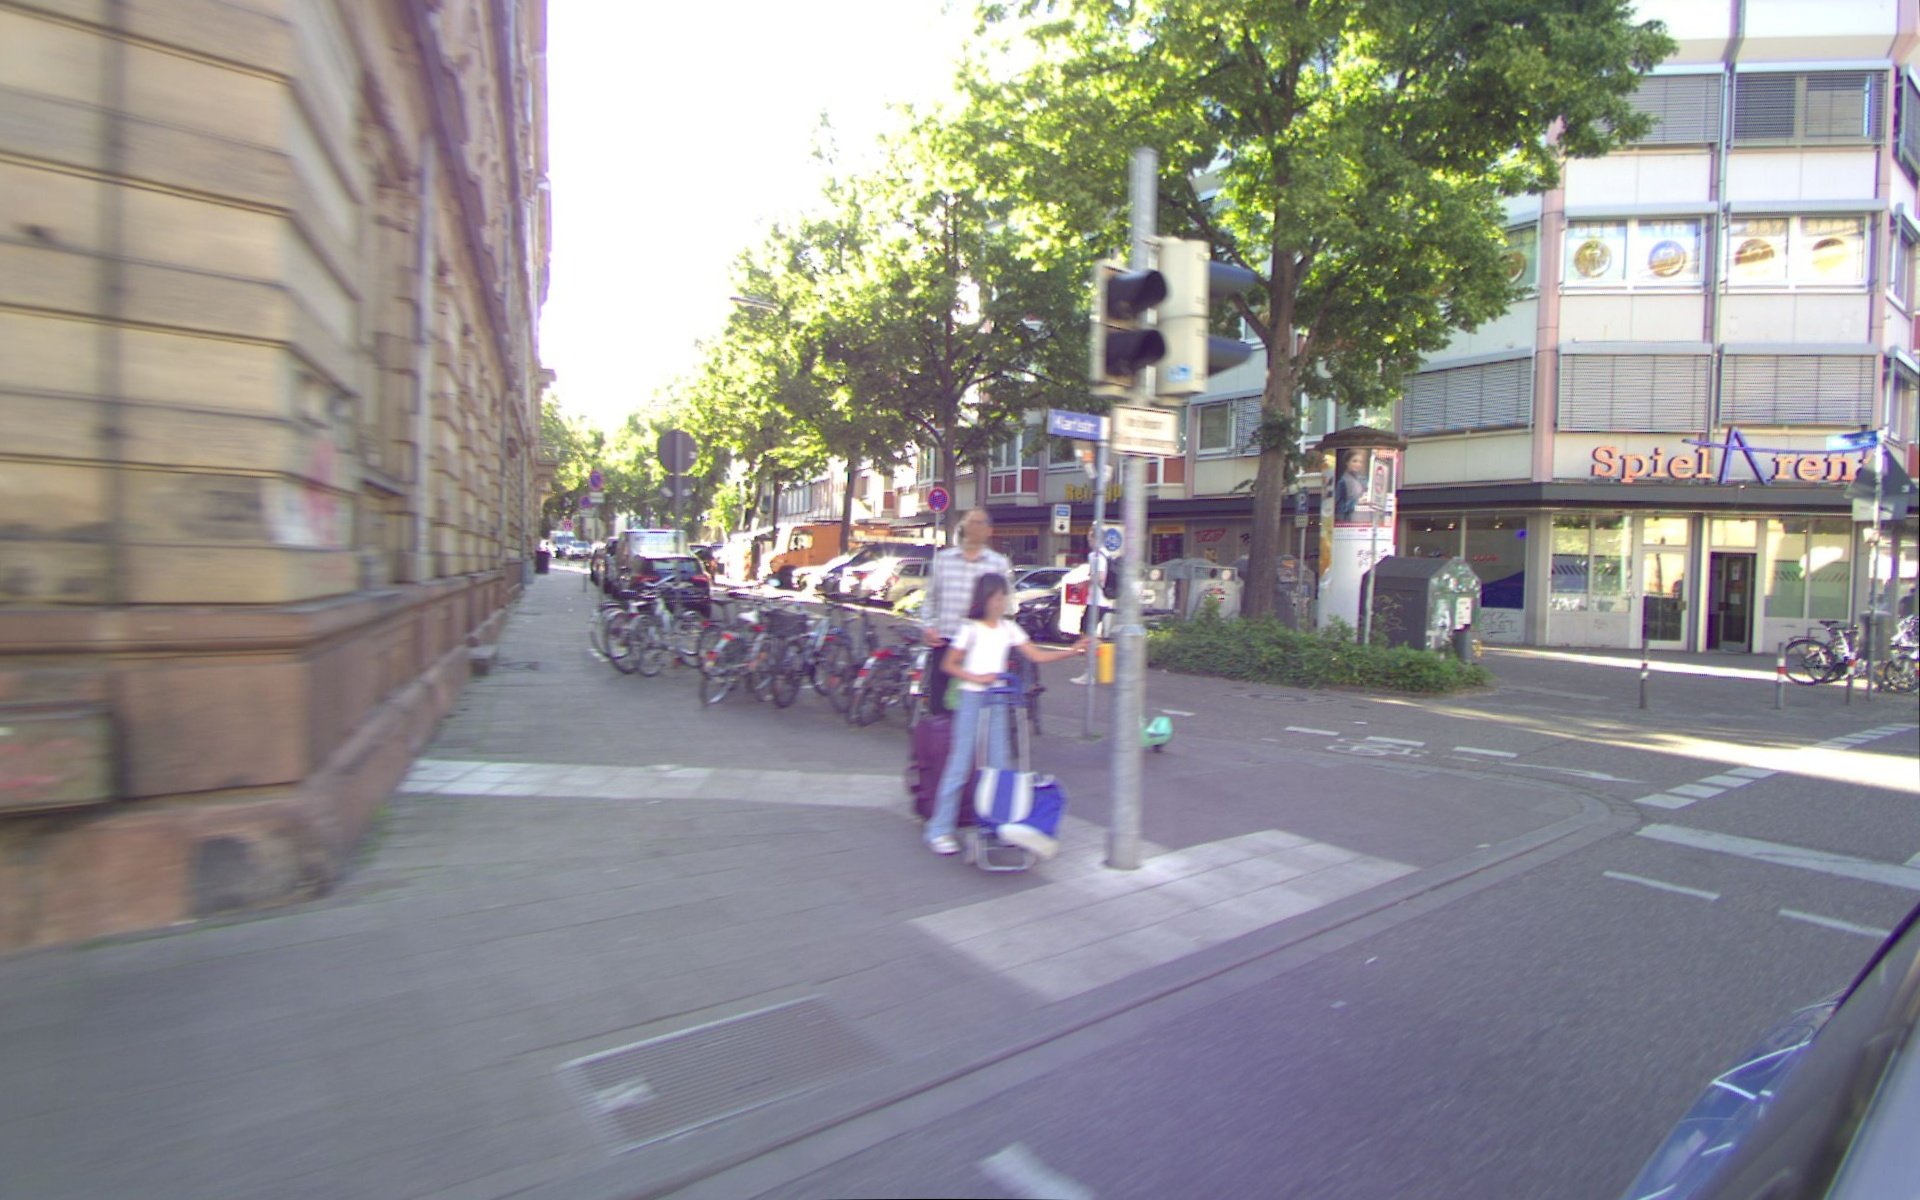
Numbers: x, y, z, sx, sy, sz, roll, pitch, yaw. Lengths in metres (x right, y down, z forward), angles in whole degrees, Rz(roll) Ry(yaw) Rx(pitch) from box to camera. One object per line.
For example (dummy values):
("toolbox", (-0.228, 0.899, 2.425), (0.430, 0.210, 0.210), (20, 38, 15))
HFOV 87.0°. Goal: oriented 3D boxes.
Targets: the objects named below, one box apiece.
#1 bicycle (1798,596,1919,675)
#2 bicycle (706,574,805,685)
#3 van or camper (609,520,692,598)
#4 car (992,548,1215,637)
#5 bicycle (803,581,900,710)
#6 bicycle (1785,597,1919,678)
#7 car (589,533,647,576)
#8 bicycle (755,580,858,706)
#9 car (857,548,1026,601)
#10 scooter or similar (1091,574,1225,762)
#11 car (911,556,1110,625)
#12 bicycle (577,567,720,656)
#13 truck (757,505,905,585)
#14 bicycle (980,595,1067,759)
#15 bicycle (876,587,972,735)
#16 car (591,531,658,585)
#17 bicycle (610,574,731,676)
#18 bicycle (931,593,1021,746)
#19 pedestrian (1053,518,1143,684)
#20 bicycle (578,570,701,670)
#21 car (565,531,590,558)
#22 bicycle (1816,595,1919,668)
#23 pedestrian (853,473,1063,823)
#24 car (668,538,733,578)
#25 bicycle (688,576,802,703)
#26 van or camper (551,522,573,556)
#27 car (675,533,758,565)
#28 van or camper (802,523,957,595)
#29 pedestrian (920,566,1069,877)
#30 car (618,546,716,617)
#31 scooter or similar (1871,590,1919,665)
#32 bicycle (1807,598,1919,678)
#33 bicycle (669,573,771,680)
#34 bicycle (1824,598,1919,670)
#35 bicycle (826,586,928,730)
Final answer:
("bicycle", (14.492, 0.550, 15.896), (0.554, 1.120, 1.951), (0, 3, -39))
("bicycle", (-2.288, 0.288, 11.532), (0.437, 1.128, 1.809), (2, 2, 11))
("van or camper", (-8.860, -1.175, 28.742), (1.916, 2.004, 4.400), (1, 2, -21))
("car", (2.844, -0.178, 20.251), (3.916, 1.622, 2.005), (0, 2, -22))
("bicycle", (-1.038, 0.398, 10.090), (0.437, 1.128, 1.809), (2, 2, 11))
("bicycle", (13.975, 0.556, 15.523), (0.554, 1.120, 1.951), (0, 3, -39))
("car", (-13.409, -1.780, 39.529), (1.792, 1.584, 4.020), (-1, 3, -23))
("bicycle", (-1.522, 0.380, 10.305), (0.437, 1.128, 1.809), (2, 2, 11))
("car", (-0.533, -0.729, 28.575), (4.369, 1.419, 1.933), (0, 2, -21))
("scooter or similar", (1.560, 0.464, 7.810), (0.389, 1.305, 1.503), (3, 2, 36))
("car", (1.106, -0.241, 22.519), (3.916, 1.413, 2.005), (0, 2, -22))
("bicycle", (-4.172, 0.133, 13.641), (1.781, 1.129, 0.444), (0, 2, -38))
("truck", (-5.161, -2.155, 40.492), (5.462, 2.947, 2.108), (0, 2, -23))
("bicycle", (0.557, 0.553, 8.287), (0.437, 1.128, 1.809), (2, 2, 12))
("bicycle", (-0.276, 0.472, 8.953), (0.437, 1.128, 1.809), (2, 2, 11))
("car", (-11.398, -1.451, 34.224), (1.792, 1.722, 4.020), (-1, 3, -23))
("bicycle", (-3.475, 0.252, 12.316), (0.439, 1.128, 1.803), (2, 2, 20))
("bicycle", (0.176, 0.538, 8.816), (0.437, 1.128, 1.809), (2, 2, 12))
("pedestrian", (1.744, -0.010, 12.729), (0.932, 2.009, 0.713), (2, 2, 22))
("bicycle", (-3.918, 0.207, 12.511), (0.439, 1.128, 1.803), (2, 2, 20))
("car", (-32.643, -4.782, 86.262), (1.958, 2.203, 4.010), (0, 3, -21))
("bicycle", (15.552, 0.527, 16.797), (0.554, 1.120, 1.951), (0, 3, -39))
("pedestrian", (-0.032, 0.240, 5.868), (0.833, 1.830, 0.877), (1, 2, -30))
("car", (-11.085, -1.806, 43.003), (1.959, 1.574, 4.008), (0, 2, -25))
("bicycle", (-2.105, 0.341, 10.150), (0.437, 1.128, 1.809), (2, 2, 11))
("van or camper", (-38.282, -5.906, 97.399), (1.958, 3.150, 5.387), (0, 3, -21))
("car", (-16.988, -3.494, 70.490), (5.324, 2.039, 2.485), (0, 1, -22))
("van or camper", (-2.642, -1.323, 32.945), (4.636, 2.164, 2.096), (1, 2, -18))
("pedestrian", (0.184, 0.554, 5.047), (0.574, 1.432, 0.571), (0, 0, 23))
("car", (-6.770, -0.502, 23.122), (1.745, 1.454, 4.201), (-1, 3, -22))
("scooter or similar", (16.709, 0.504, 17.334), (0.580, 1.244, 1.484), (0, 4, -37))
("bicycle", (15.058, 0.609, 16.386), (0.617, 1.180, 1.951), (0, 3, -39))
("bicycle", (-2.764, 0.262, 11.824), (0.437, 1.128, 1.809), (2, 2, 11))
("bicycle", (16.015, 0.580, 17.184), (0.554, 1.120, 1.951), (0, 3, -39))
("bicycle", (-0.713, 0.458, 9.208), (0.437, 1.128, 1.809), (2, 2, 11))
